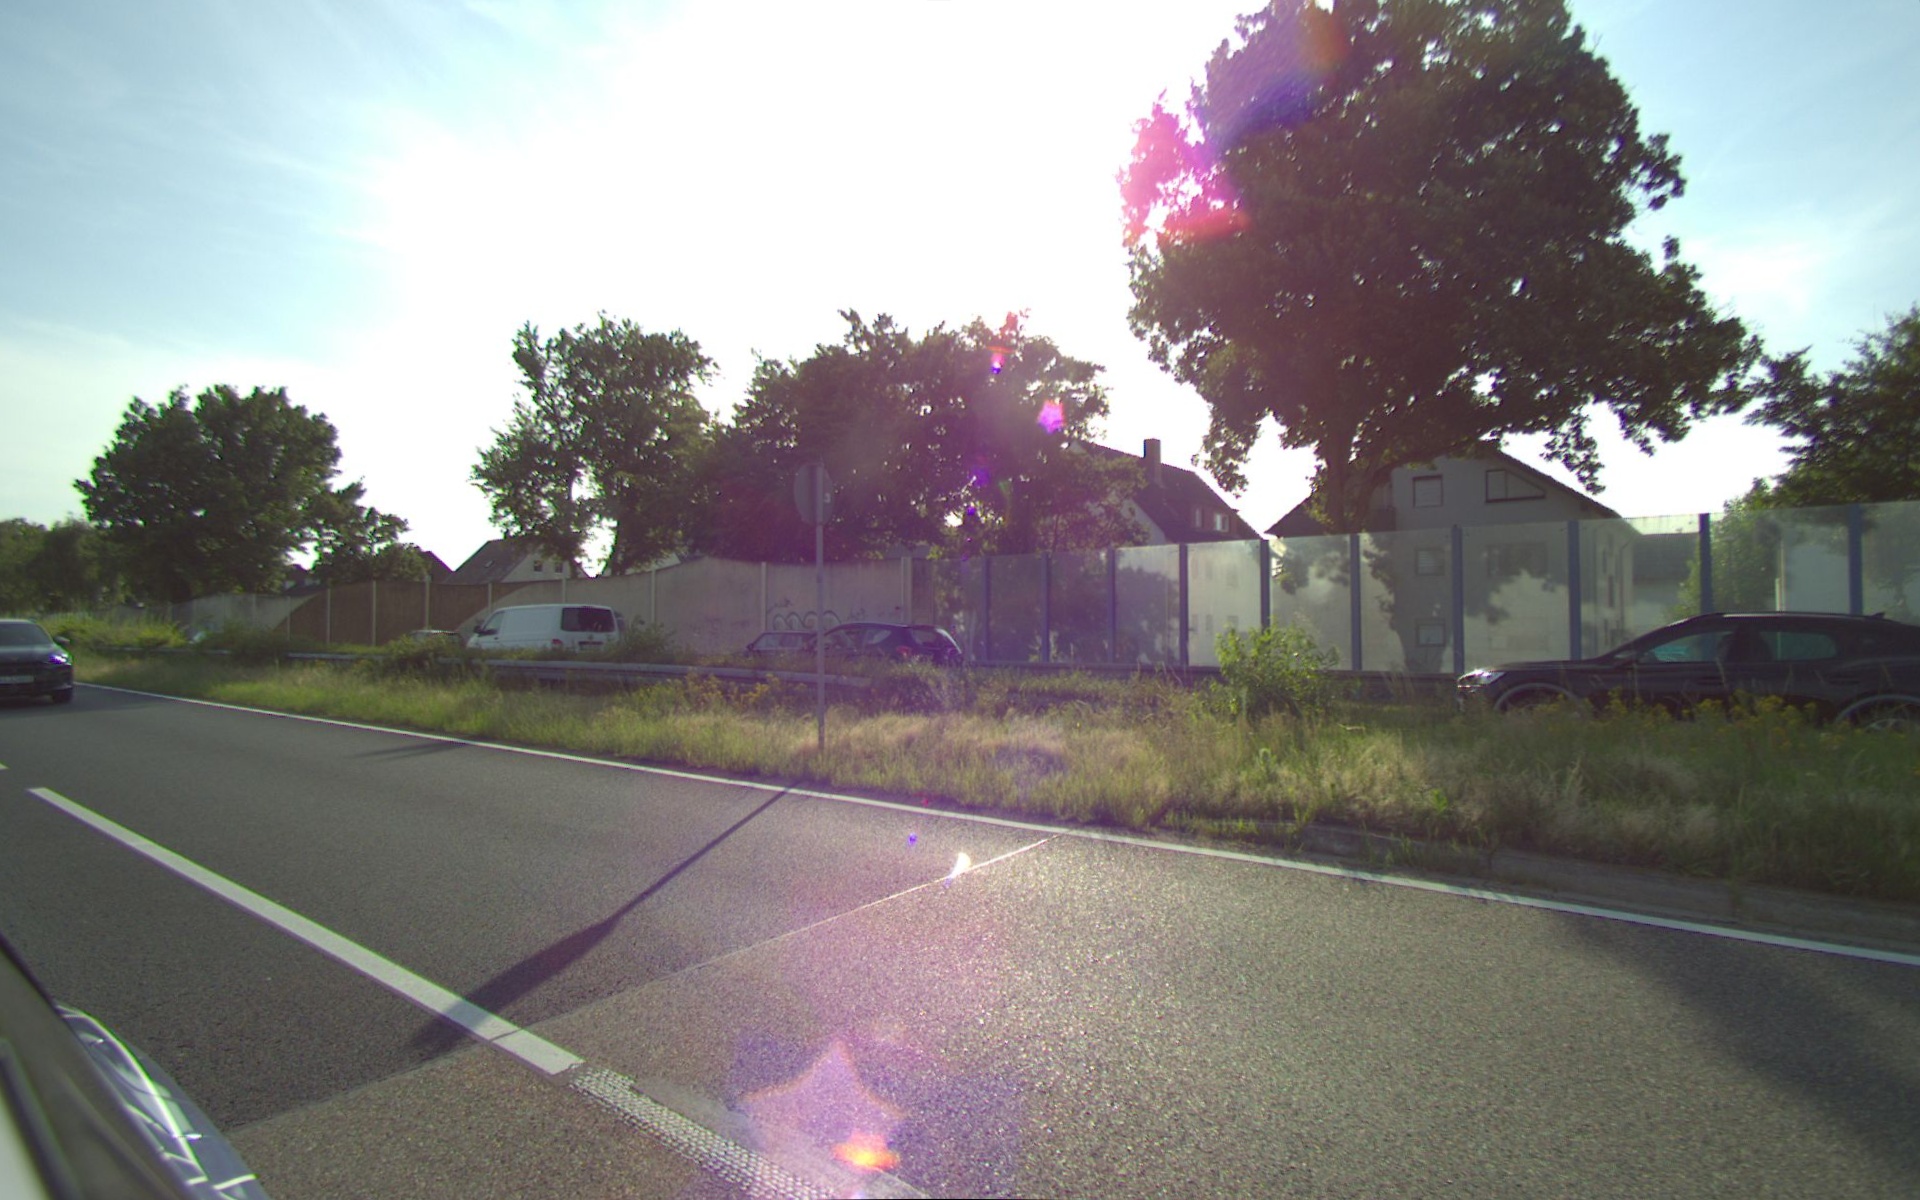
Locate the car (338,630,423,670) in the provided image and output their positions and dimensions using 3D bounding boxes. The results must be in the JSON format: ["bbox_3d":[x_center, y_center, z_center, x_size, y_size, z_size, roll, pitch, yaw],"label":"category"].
[{"bbox_3d":[-22.131,1.878,38.626,3.604,1.389,1.657,-2,-1,40],"label":"car"}]

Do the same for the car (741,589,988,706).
[{"bbox_3d":[-1.778,0.789,17.930,4.363,1.846,1.746,-2,-1,39],"label":"car"}]

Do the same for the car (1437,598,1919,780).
[{"bbox_3d":[7.269,0.758,9.683,4.653,1.476,1.500,-2,-1,39],"label":"car"}]

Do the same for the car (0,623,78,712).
[{"bbox_3d":[-18.299,1.242,19.128,4.242,1.536,1.799,-2,-1,40],"label":"car"}]

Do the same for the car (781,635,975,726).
[{"bbox_3d":[-1.809,1.646,21.698,3.995,1.705,1.817,-2,-1,39],"label":"car"}]

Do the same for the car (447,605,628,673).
[{"bbox_3d":[-10.563,0.945,25.135,5.053,1.495,1.962,-2,-1,38],"label":"car"}]

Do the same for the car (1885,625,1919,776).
[{"bbox_3d":[12.648,1.098,10.773,3.996,1.630,1.717,-2,-1,39],"label":"car"}]

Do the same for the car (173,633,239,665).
[{"bbox_3d":[-38.141,2.452,51.168,3.995,1.453,1.737,-2,-1,38],"label":"car"}]
